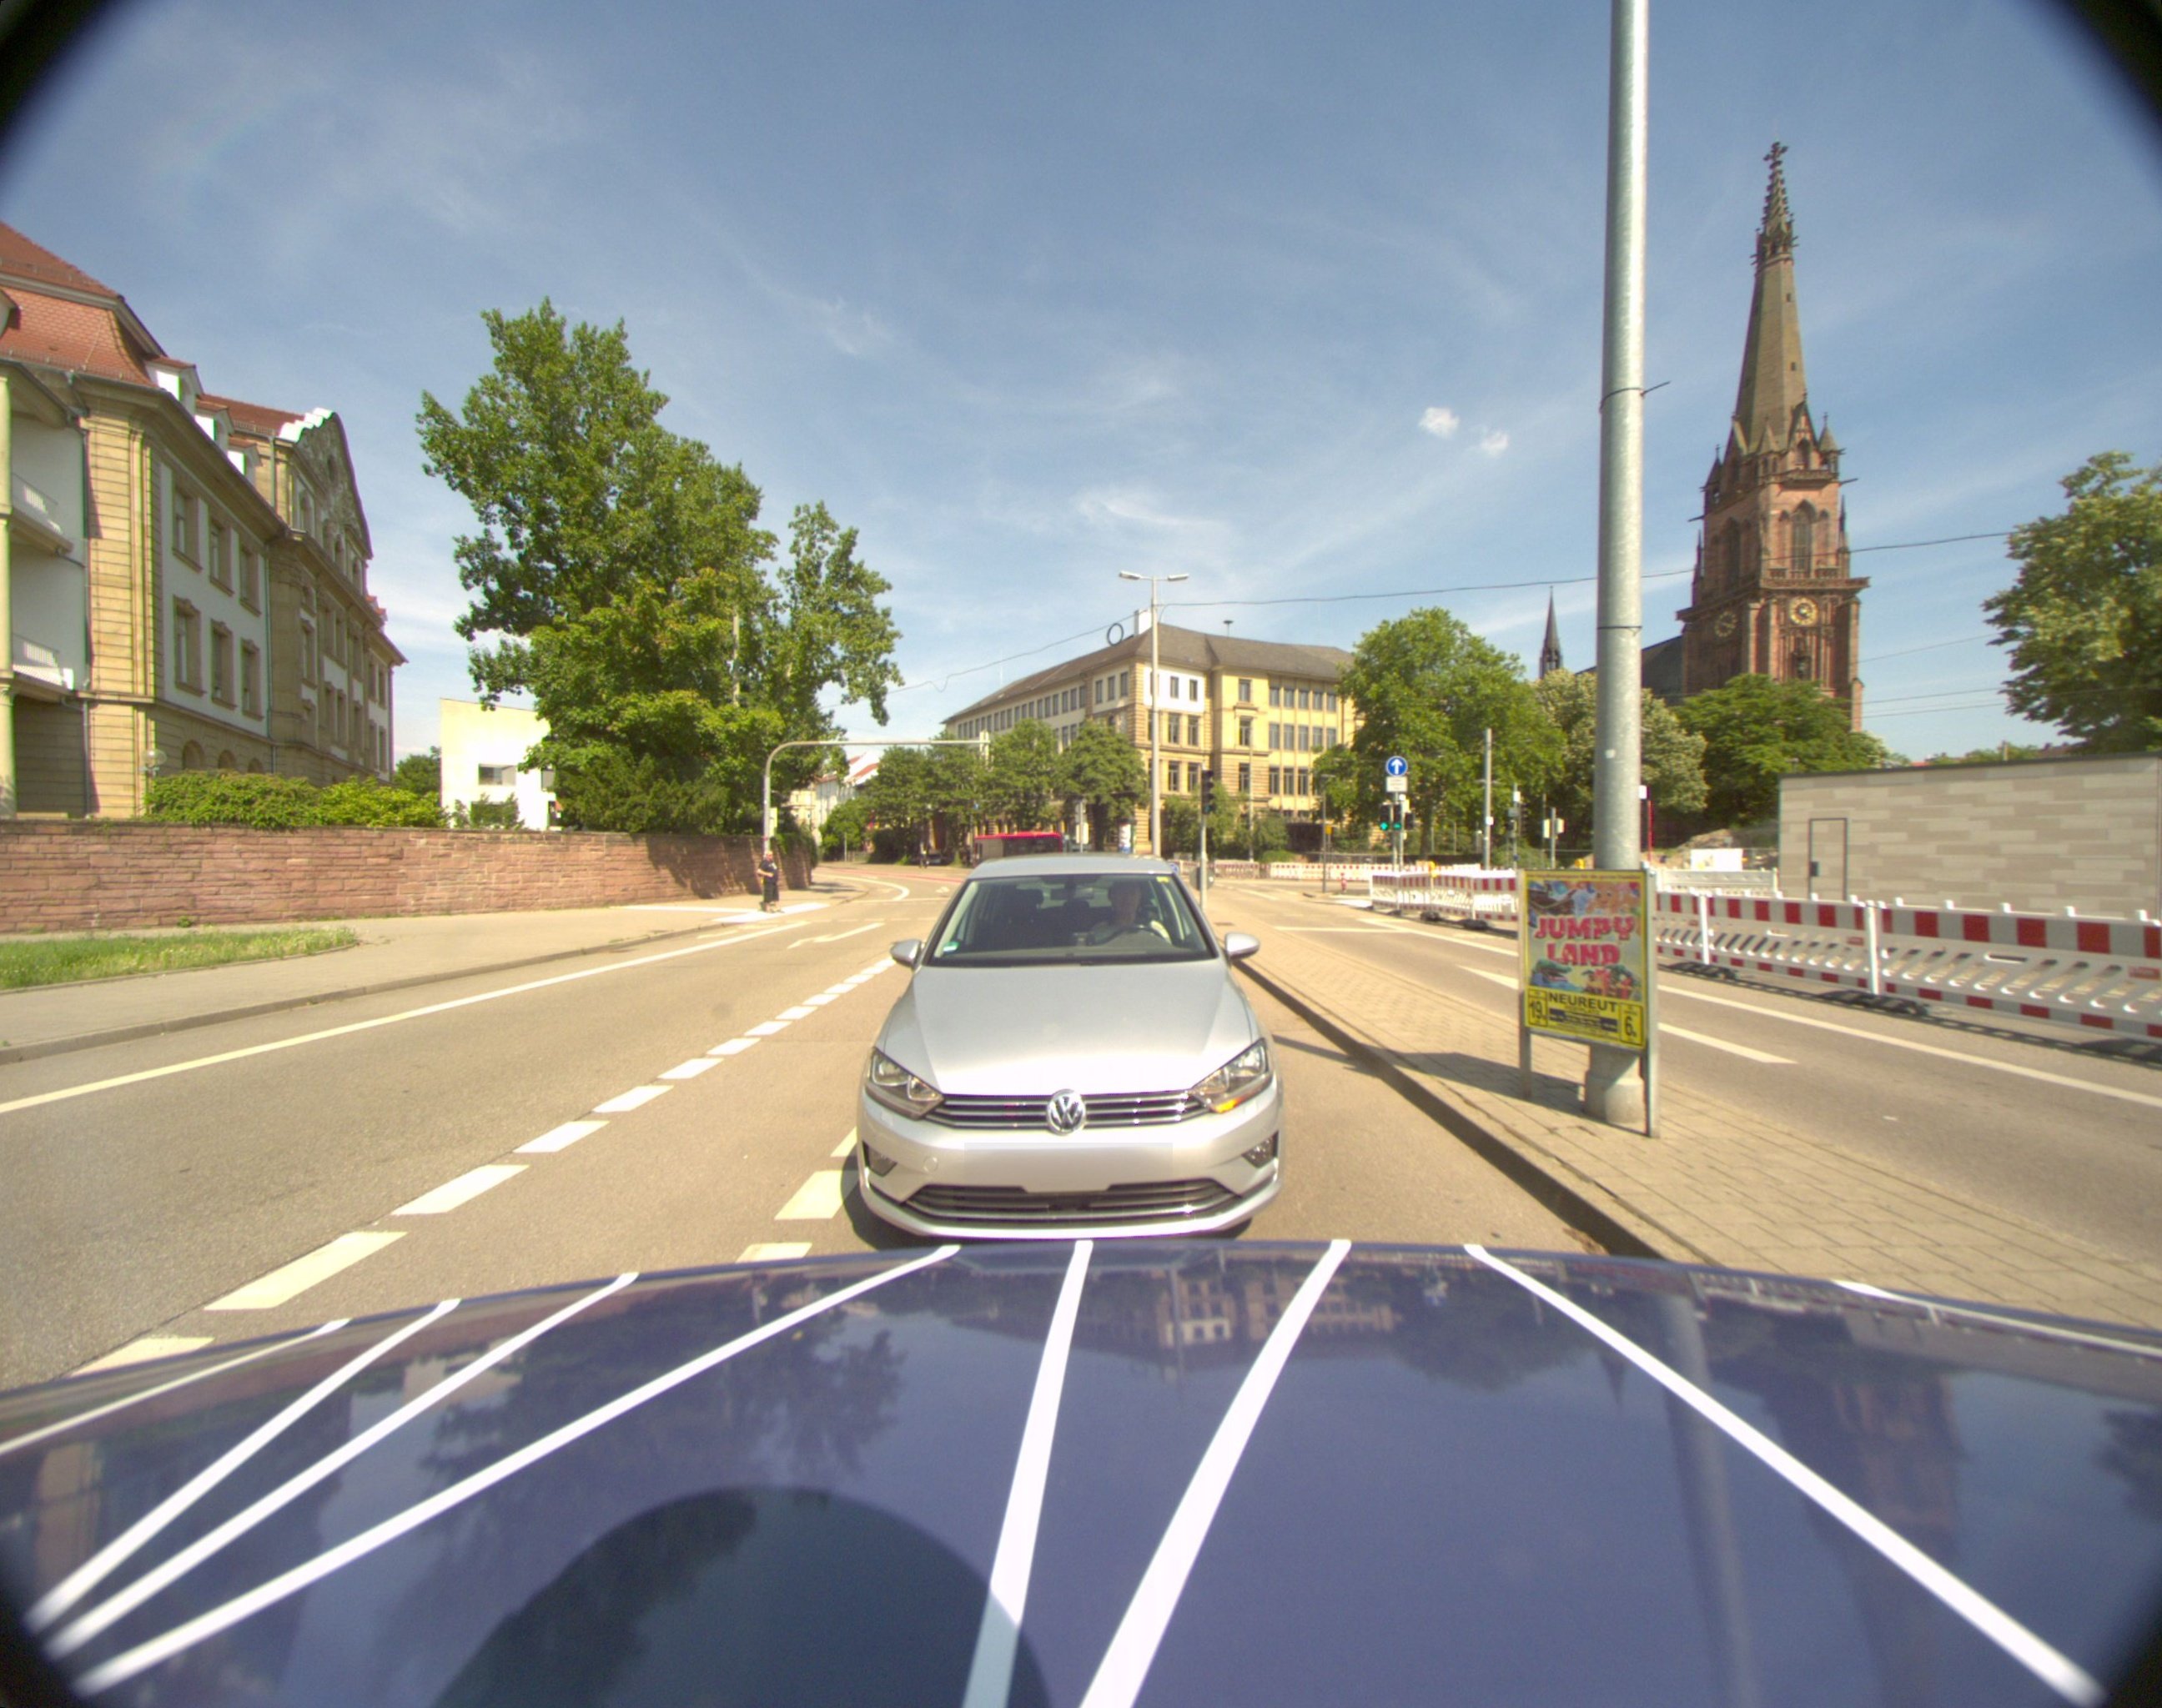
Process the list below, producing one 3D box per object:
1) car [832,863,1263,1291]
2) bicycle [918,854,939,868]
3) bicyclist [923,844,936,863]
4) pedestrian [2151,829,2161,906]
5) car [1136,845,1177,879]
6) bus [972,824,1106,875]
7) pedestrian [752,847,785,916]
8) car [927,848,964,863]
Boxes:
[{"bbox_3d":[-0.041,0.894,5.055,1.687,1.577,4.152,0,0,3],"label":"car"},{"bbox_3d":[-15.969,0.735,79.406,0.832,1.394,3.461,-3,1,-32],"label":"bicycle"},{"bbox_3d":[-15.817,-0.056,79.102,0.860,2.002,1.233,-3,1,-32],"label":"bicyclist"},{"bbox_3d":[28.372,0.348,19.490,0.820,2.002,0.686,1,1,3],"label":"pedestrian"},{"bbox_3d":[4.550,0.447,46.355,1.999,2.002,3.999,0,0,-1],"label":"car"},{"bbox_3d":[-3.275,-0.251,52.747,3.138,3.076,12.381,-3,1,-35],"label":"bus"},{"bbox_3d":[-9.222,0.783,22.431,0.796,2.002,0.615,0,1,-14],"label":"pedestrian"},{"bbox_3d":[-16.731,0.144,93.825,4.006,1.653,1.994,-3,4,-35],"label":"car"}]
